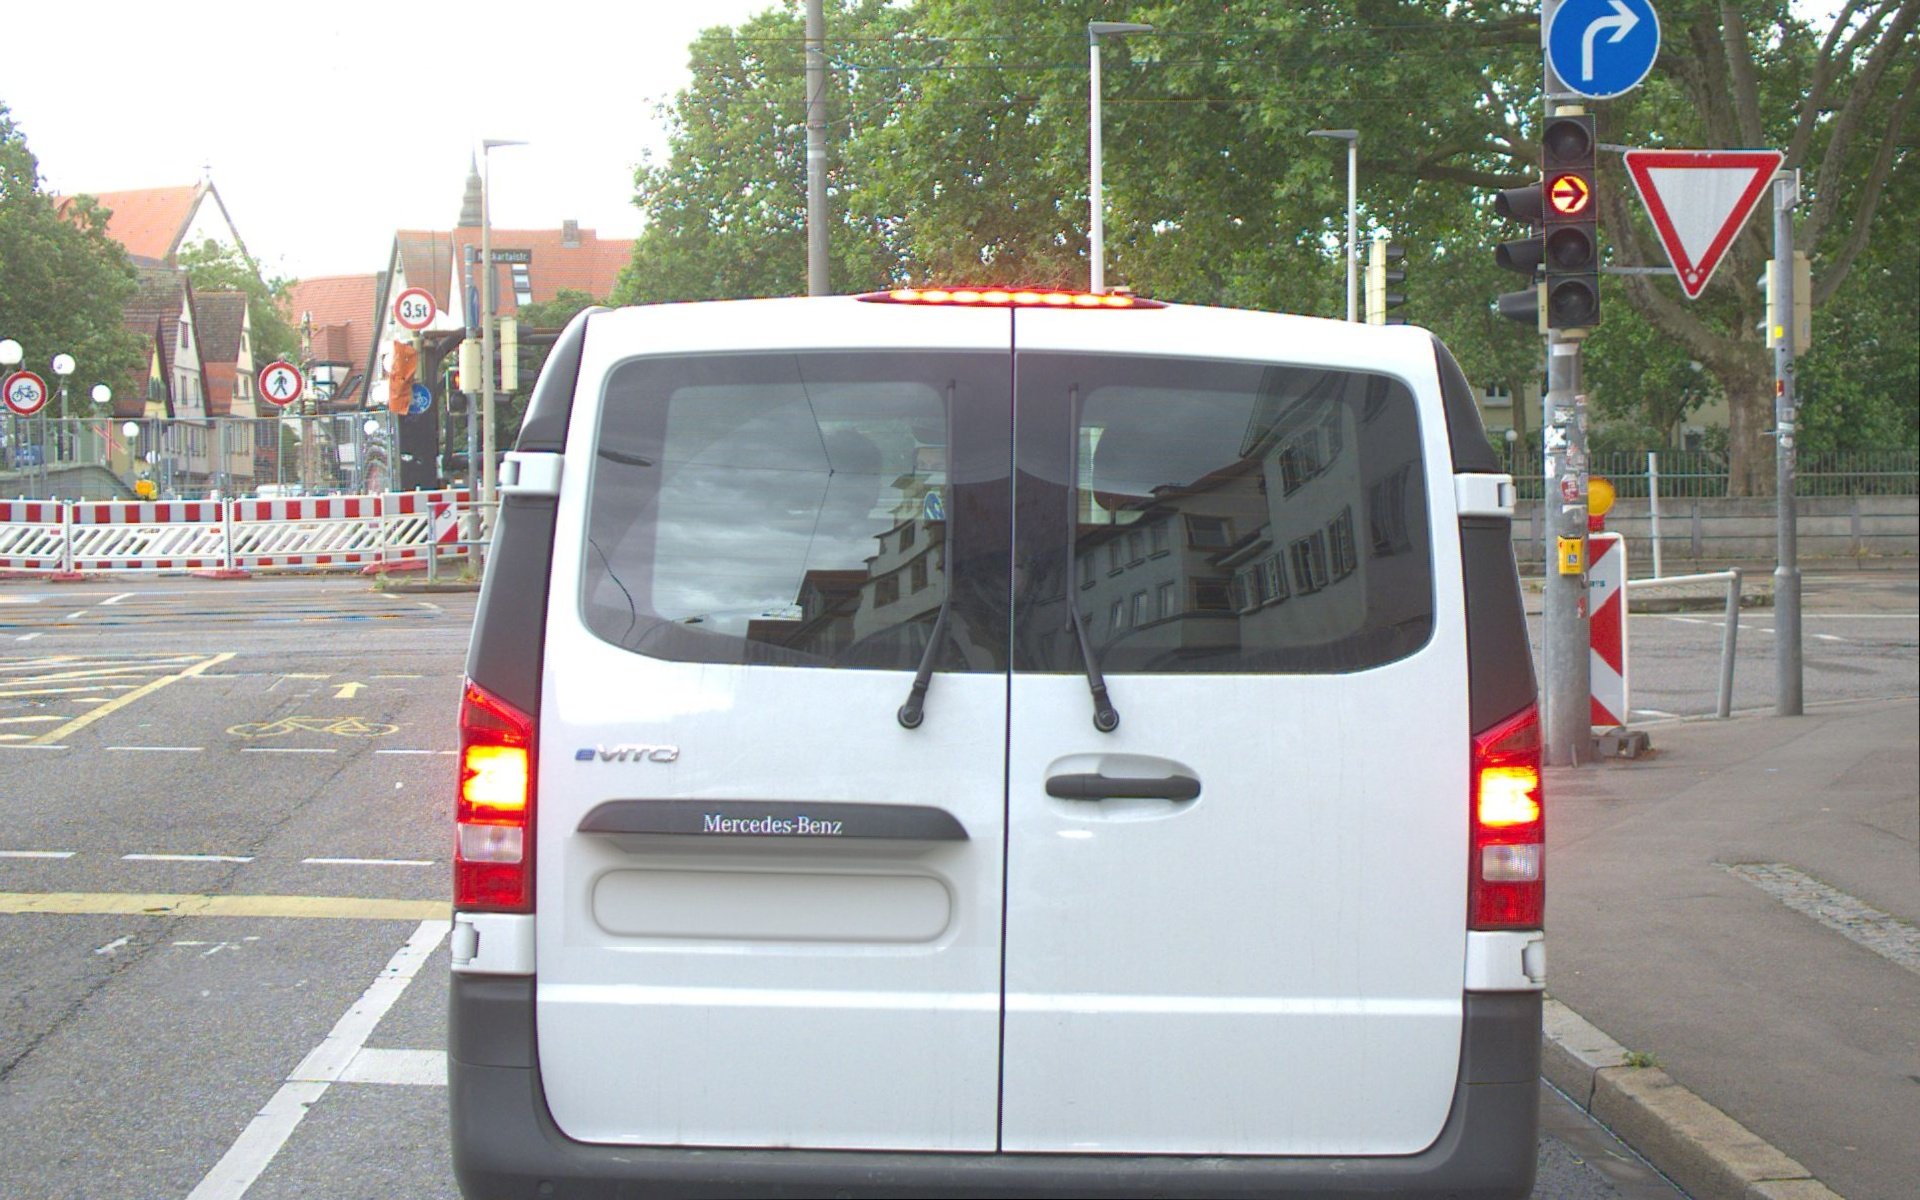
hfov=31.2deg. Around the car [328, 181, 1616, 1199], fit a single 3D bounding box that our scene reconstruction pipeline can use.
[{"bbox_3d":[-0.015,0.280,7.618,1.951,2.006,4.699,1,2,-1],"label":"car"}]
